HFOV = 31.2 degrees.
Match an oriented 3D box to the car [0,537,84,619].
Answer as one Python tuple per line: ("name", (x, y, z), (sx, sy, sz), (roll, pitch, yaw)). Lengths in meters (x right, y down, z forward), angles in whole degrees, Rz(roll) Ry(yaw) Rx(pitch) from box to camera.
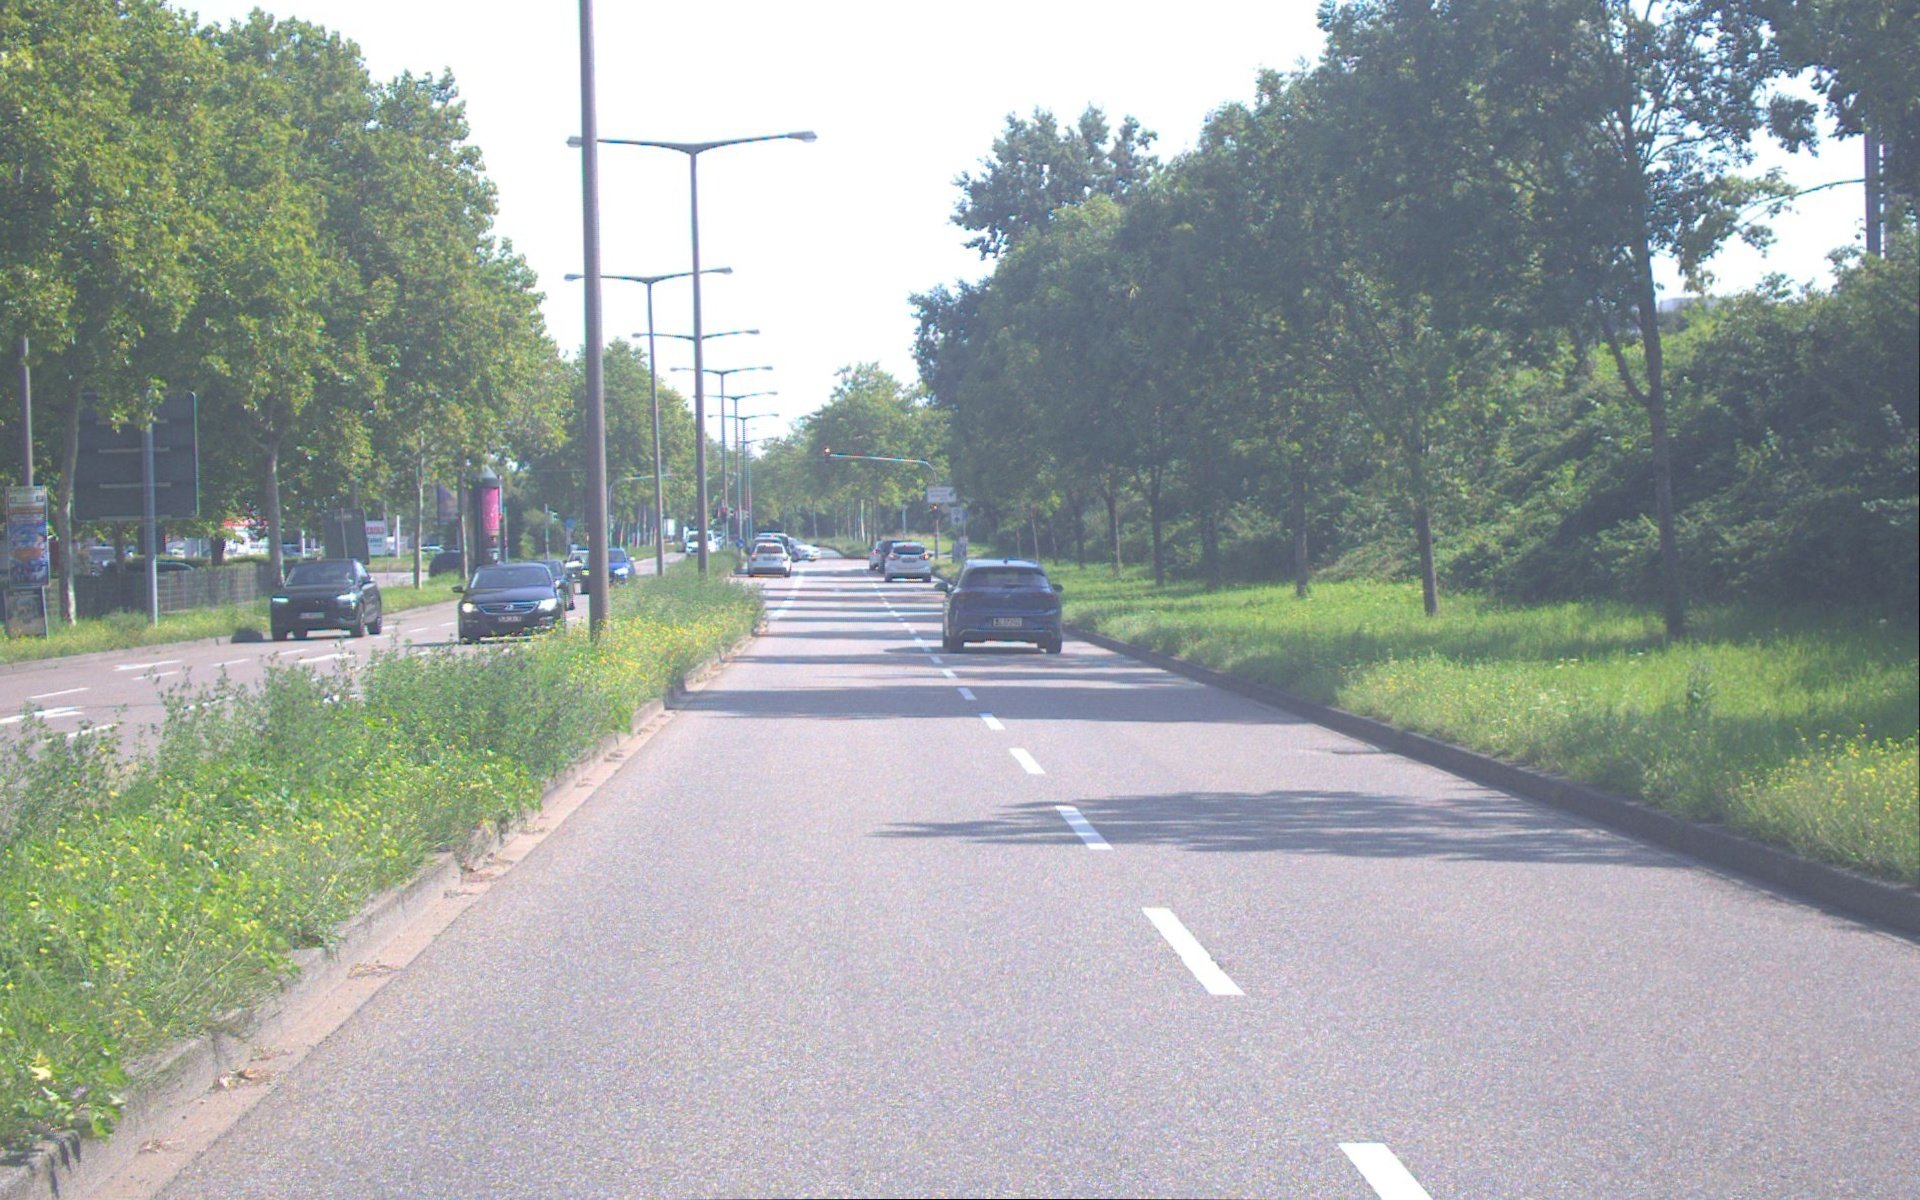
("car", (-29.385, -0.690, 103.319), (5.583, 2.329, 2.279), (1, 3, -3))

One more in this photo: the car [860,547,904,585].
("car", (-3.854, -1.674, 169.903), (1.993, 1.648, 4.001), (0, 4, -4))

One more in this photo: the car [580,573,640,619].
("car", (-12.590, -0.154, 123.984), (1.993, 1.579, 4.347), (-1, 1, -4))

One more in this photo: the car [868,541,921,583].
("car", (-2.650, -1.522, 138.839), (1.993, 1.648, 4.000), (-1, 0, -2))

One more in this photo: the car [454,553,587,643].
("car", (-7.788, -0.063, 61.249), (1.845, 1.484, 4.644), (-2, 1, -1))

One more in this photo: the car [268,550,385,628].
("car", (-13.368, -0.227, 72.785), (1.845, 1.600, 4.611), (0, 0, -3))

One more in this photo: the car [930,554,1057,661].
("car", (0.486, 0.081, 53.833), (1.780, 1.423, 4.001), (1, 3, -2))

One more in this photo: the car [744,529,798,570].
("car", (-8.108, -2.150, 147.803), (1.993, 1.696, 4.000), (-1, 0, 1))
